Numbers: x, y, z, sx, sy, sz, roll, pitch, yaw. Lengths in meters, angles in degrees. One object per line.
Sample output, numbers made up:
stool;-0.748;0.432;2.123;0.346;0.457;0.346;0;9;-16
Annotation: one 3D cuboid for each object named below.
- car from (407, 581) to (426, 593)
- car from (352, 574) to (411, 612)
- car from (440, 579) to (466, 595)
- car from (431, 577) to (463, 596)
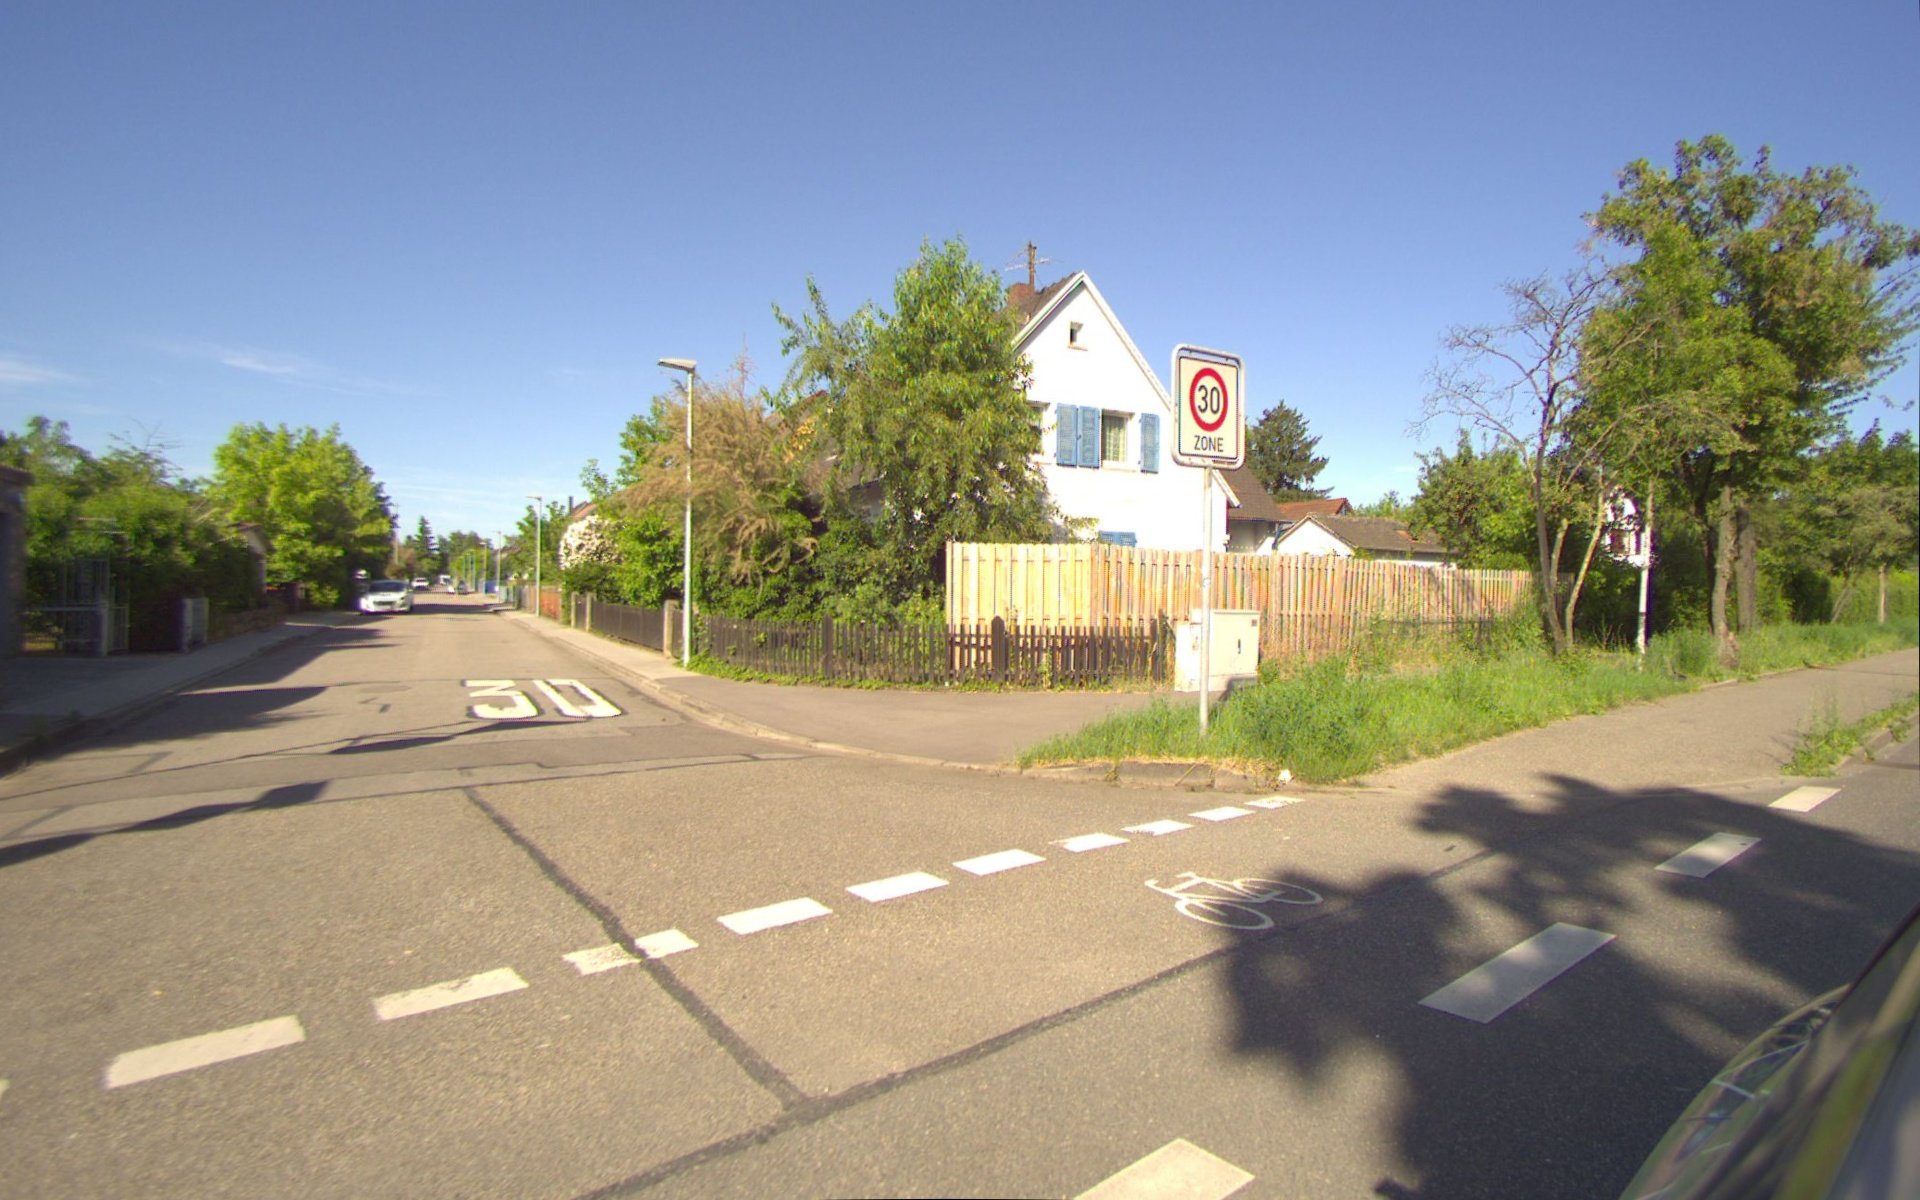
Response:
car;-66.265;-1.582;123.390;1.959;1.460;4.007;0;1;-26
car;-24.728;-0.303;43.387;1.959;1.538;4.006;0;1;-27
car;-49.624;-1.271;99.071;1.961;1.460;4.003;0;1;-31
car;-41.035;-1.083;80.944;1.961;1.460;4.003;0;1;-31
